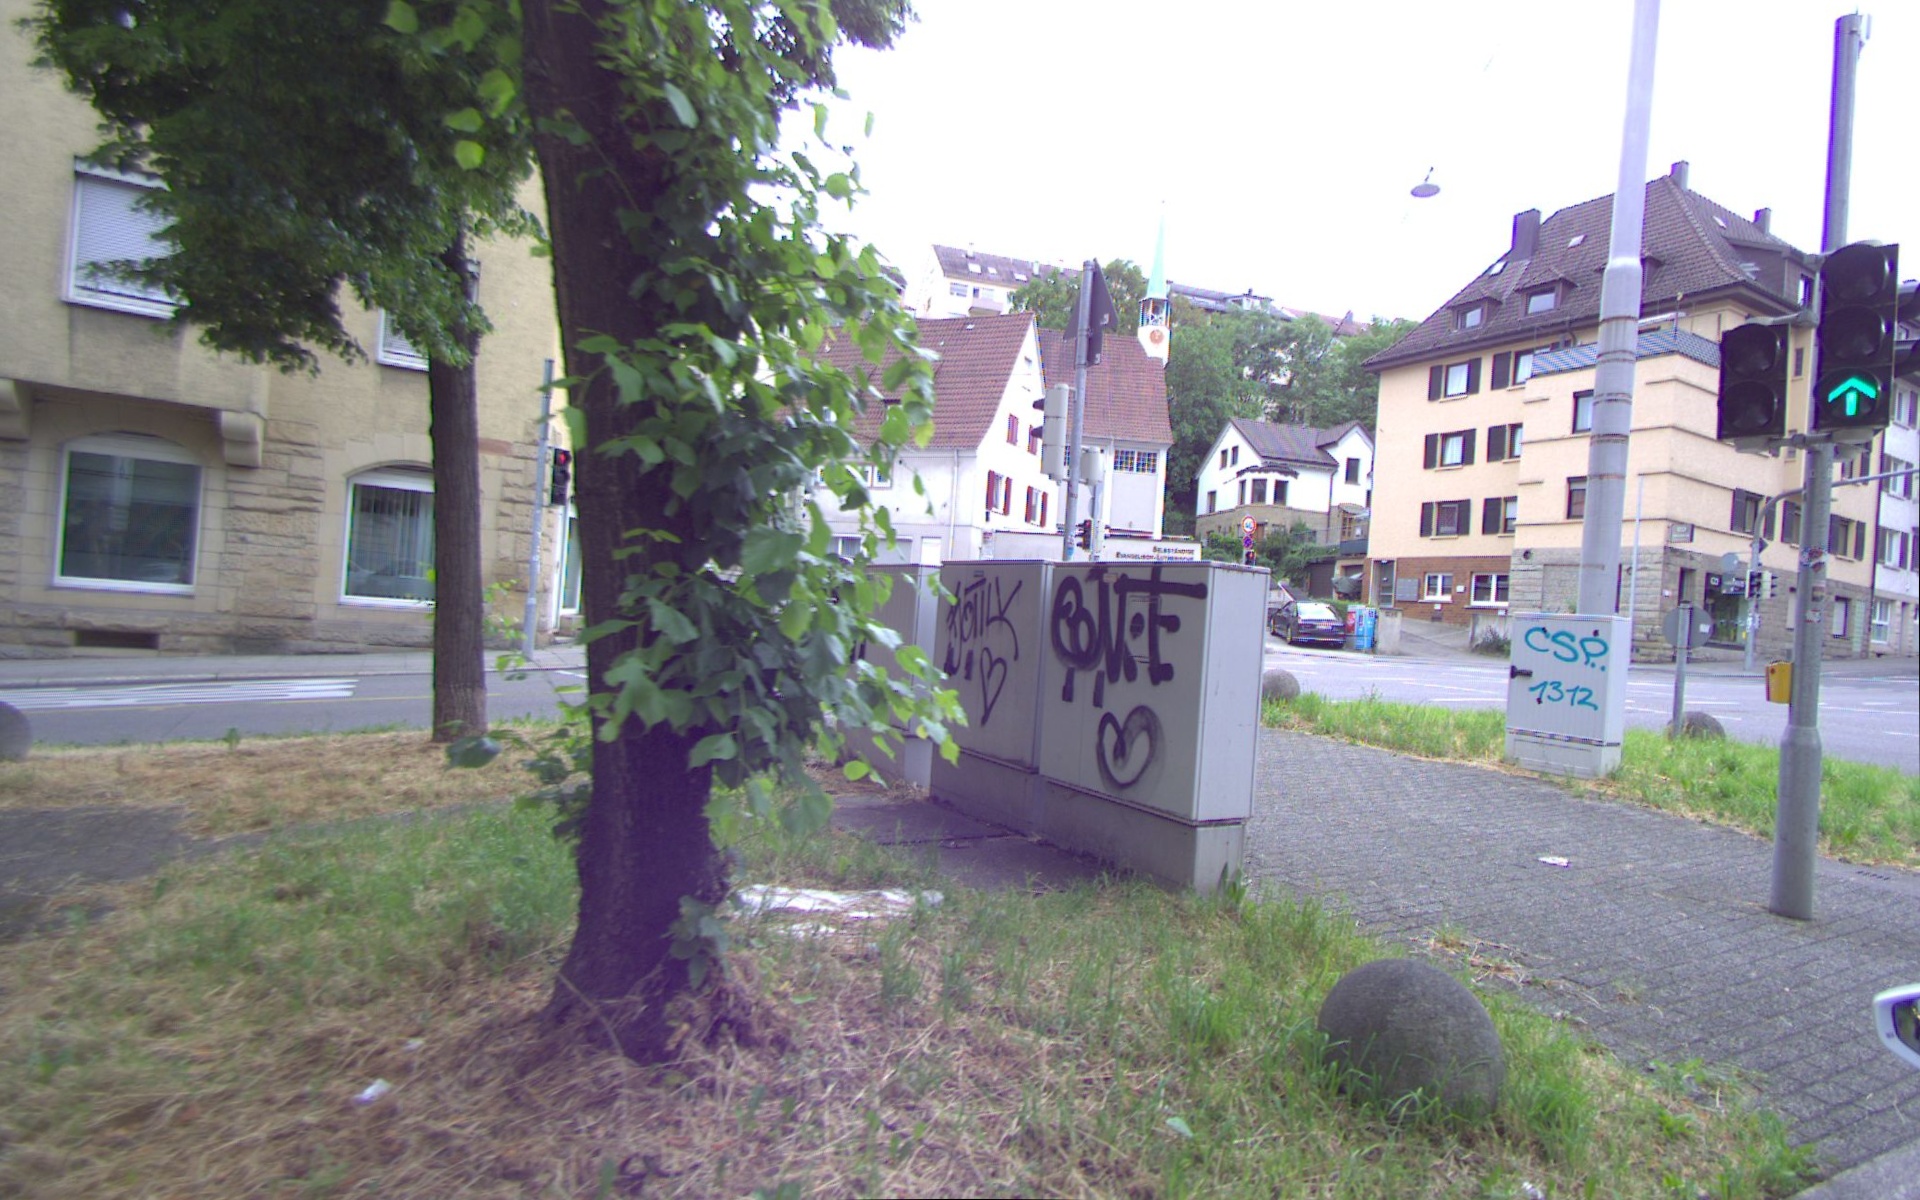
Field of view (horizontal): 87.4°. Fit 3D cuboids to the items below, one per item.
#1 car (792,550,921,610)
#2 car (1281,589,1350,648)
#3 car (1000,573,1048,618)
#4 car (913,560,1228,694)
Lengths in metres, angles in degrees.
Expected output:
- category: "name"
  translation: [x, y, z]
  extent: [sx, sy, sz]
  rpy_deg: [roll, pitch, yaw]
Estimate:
- category: "car"
  translation: [-3.243, -0.632, 31.257]
  extent: [3.652, 1.461, 1.756]
  rpy_deg: [8, 4, 33]
- category: "car"
  translation: [12.556, 0.621, 35.693]
  extent: [1.832, 1.619, 3.519]
  rpy_deg: [2, 6, 13]
- category: "car"
  translation: [2.444, -0.217, 39.180]
  extent: [1.639, 1.424, 3.057]
  rpy_deg: [6, 3, 1]
- category: "car"
  translation: [1.455, 0.369, 12.888]
  extent: [3.778, 1.500, 1.611]
  rpy_deg: [3, 0, -30]
